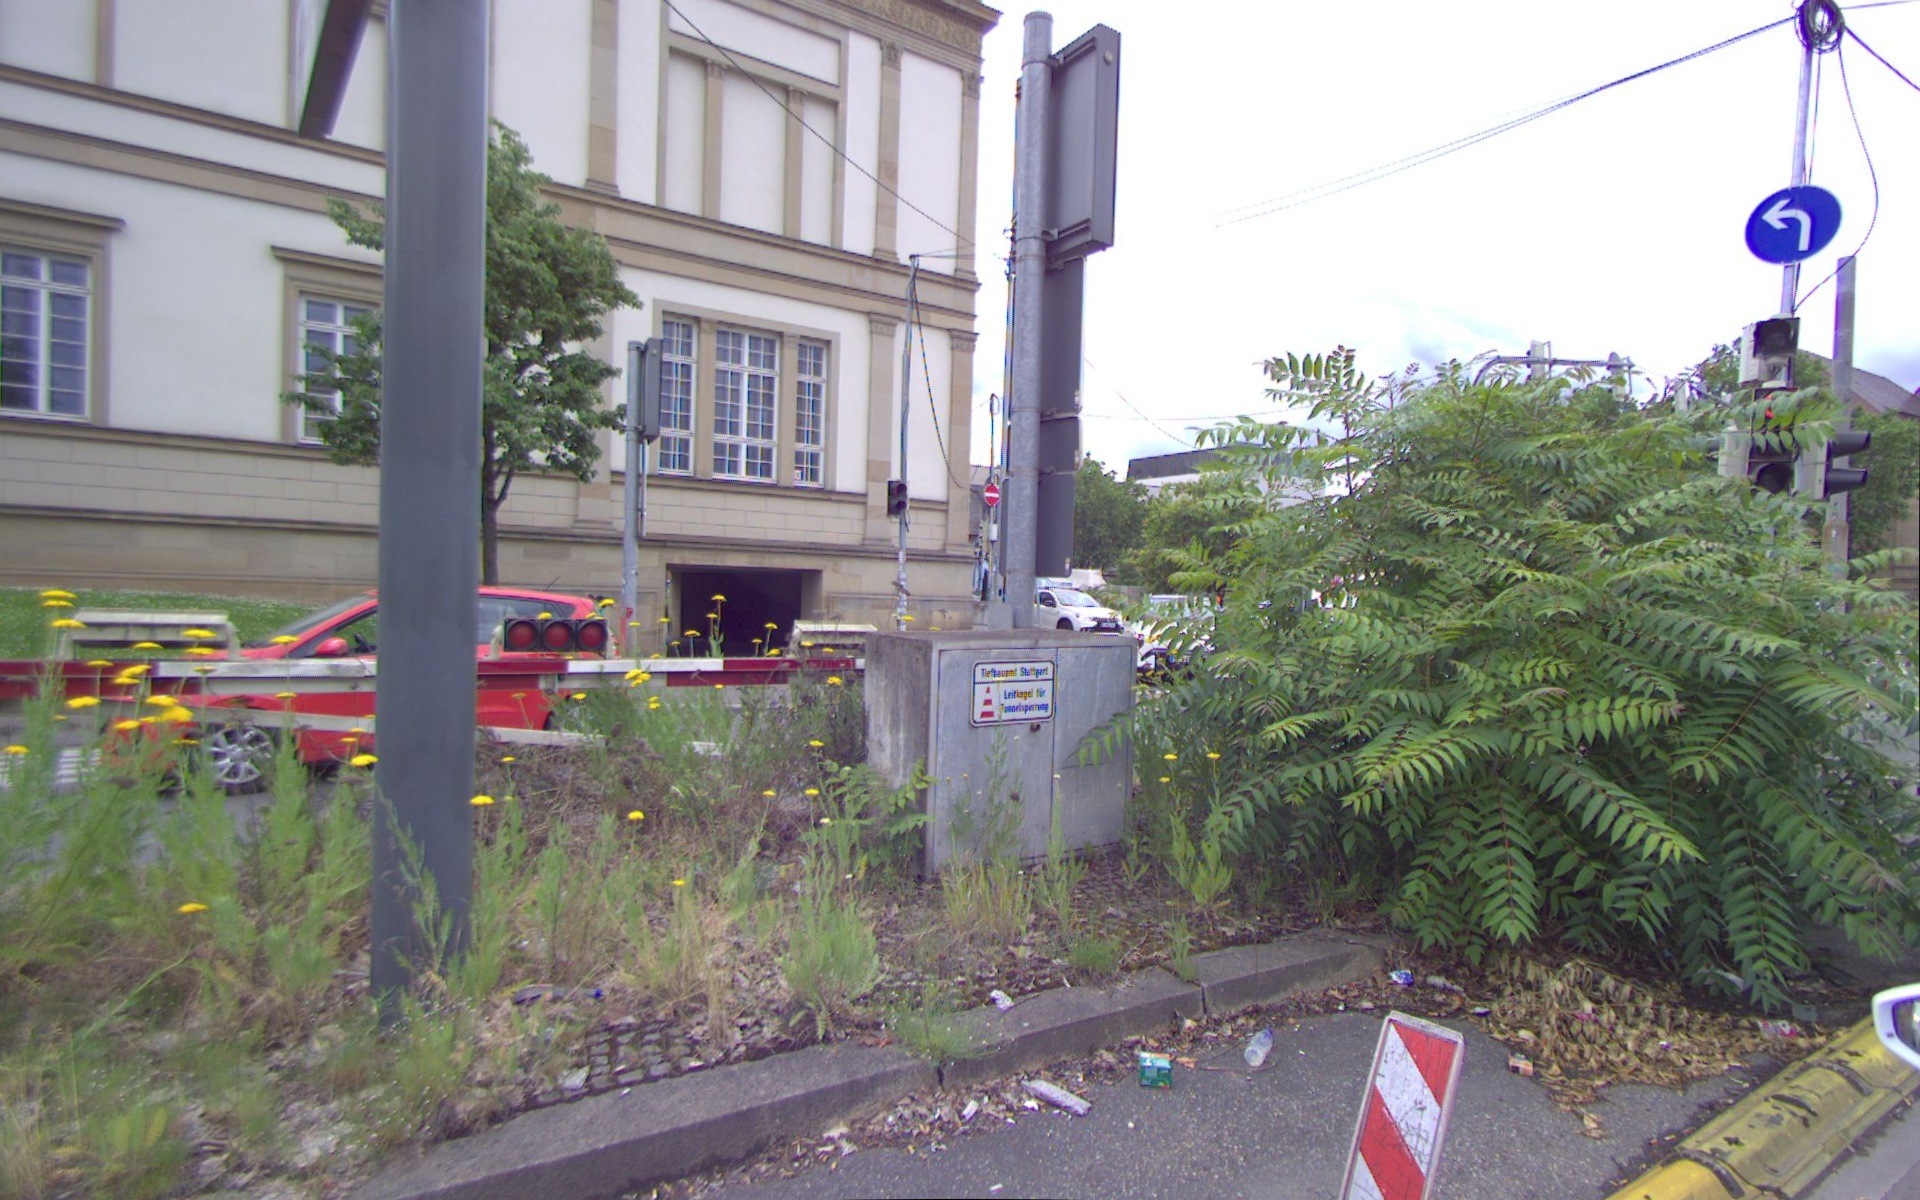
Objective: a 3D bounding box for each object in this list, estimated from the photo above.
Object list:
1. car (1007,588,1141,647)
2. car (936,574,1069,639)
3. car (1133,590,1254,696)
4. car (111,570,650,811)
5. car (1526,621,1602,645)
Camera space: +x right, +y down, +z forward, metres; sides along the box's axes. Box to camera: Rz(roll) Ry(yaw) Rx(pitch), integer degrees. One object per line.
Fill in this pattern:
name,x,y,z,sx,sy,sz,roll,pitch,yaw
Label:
car,3.324,0.503,30.017,1.883,1.646,4.074,-1,0,-31
car,1.568,0.214,39.521,2.280,2.336,5.723,2,0,-34
car,4.269,0.731,18.940,1.838,1.713,4.271,2,0,9
car,-4.609,0.630,8.240,3.548,1.497,1.627,3,1,-42
car,35.456,1.913,59.011,3.566,1.271,1.672,2,0,42
